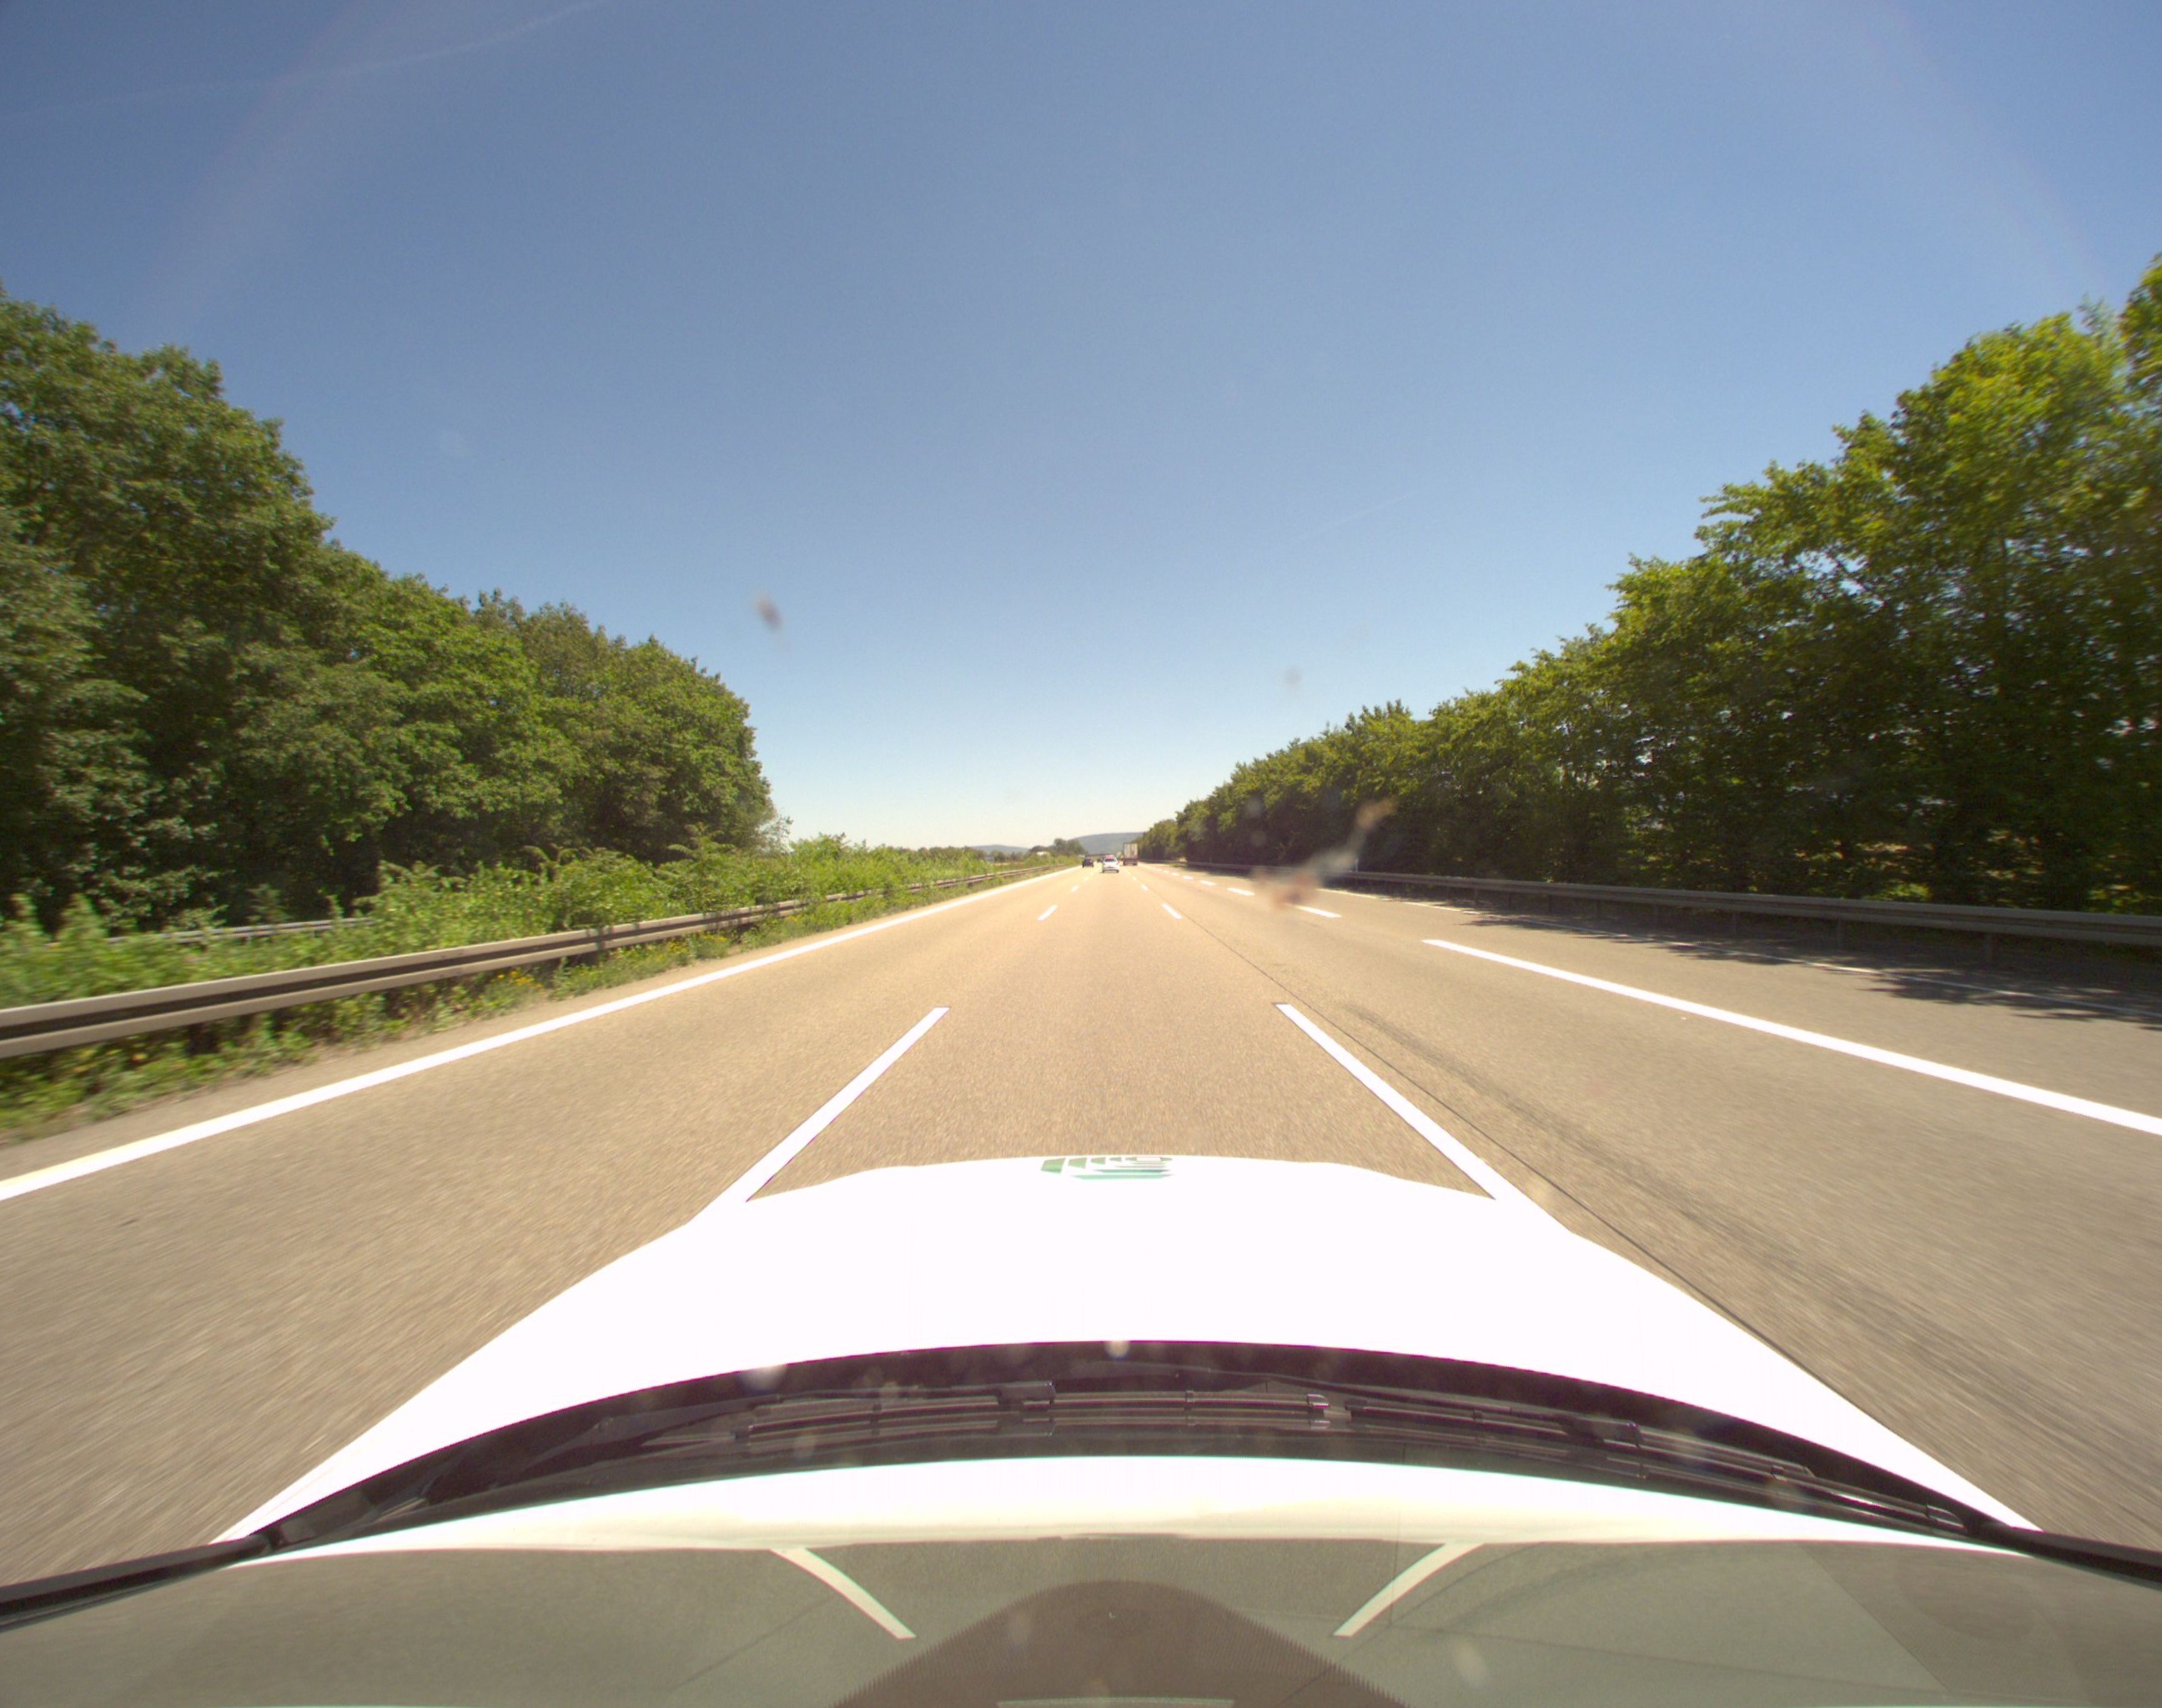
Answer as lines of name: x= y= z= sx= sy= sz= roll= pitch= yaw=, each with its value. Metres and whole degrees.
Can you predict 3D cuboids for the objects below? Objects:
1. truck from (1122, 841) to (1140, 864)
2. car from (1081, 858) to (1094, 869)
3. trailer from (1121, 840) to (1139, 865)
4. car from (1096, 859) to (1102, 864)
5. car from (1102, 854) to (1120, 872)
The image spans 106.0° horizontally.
truck: x=9.697 y=-0.199 z=157.738 sx=3.203 sy=4.345 sz=6.598 roll=0 pitch=0 yaw=4
car: x=1.043 y=1.492 z=129.456 sx=1.986 sy=1.712 sz=4.001 roll=0 pitch=0 yaw=1
trailer: x=9.108 y=-0.240 z=150.169 sx=3.203 sy=4.345 sz=13.645 roll=0 pitch=0 yaw=4
car: x=5.269 y=2.193 z=240.320 sx=1.788 sy=1.551 sz=4.002 roll=-1 pitch=-1 yaw=2
car: x=3.021 y=0.918 z=82.671 sx=1.726 sy=1.684 sz=4.001 roll=-2 pitch=0 yaw=1
